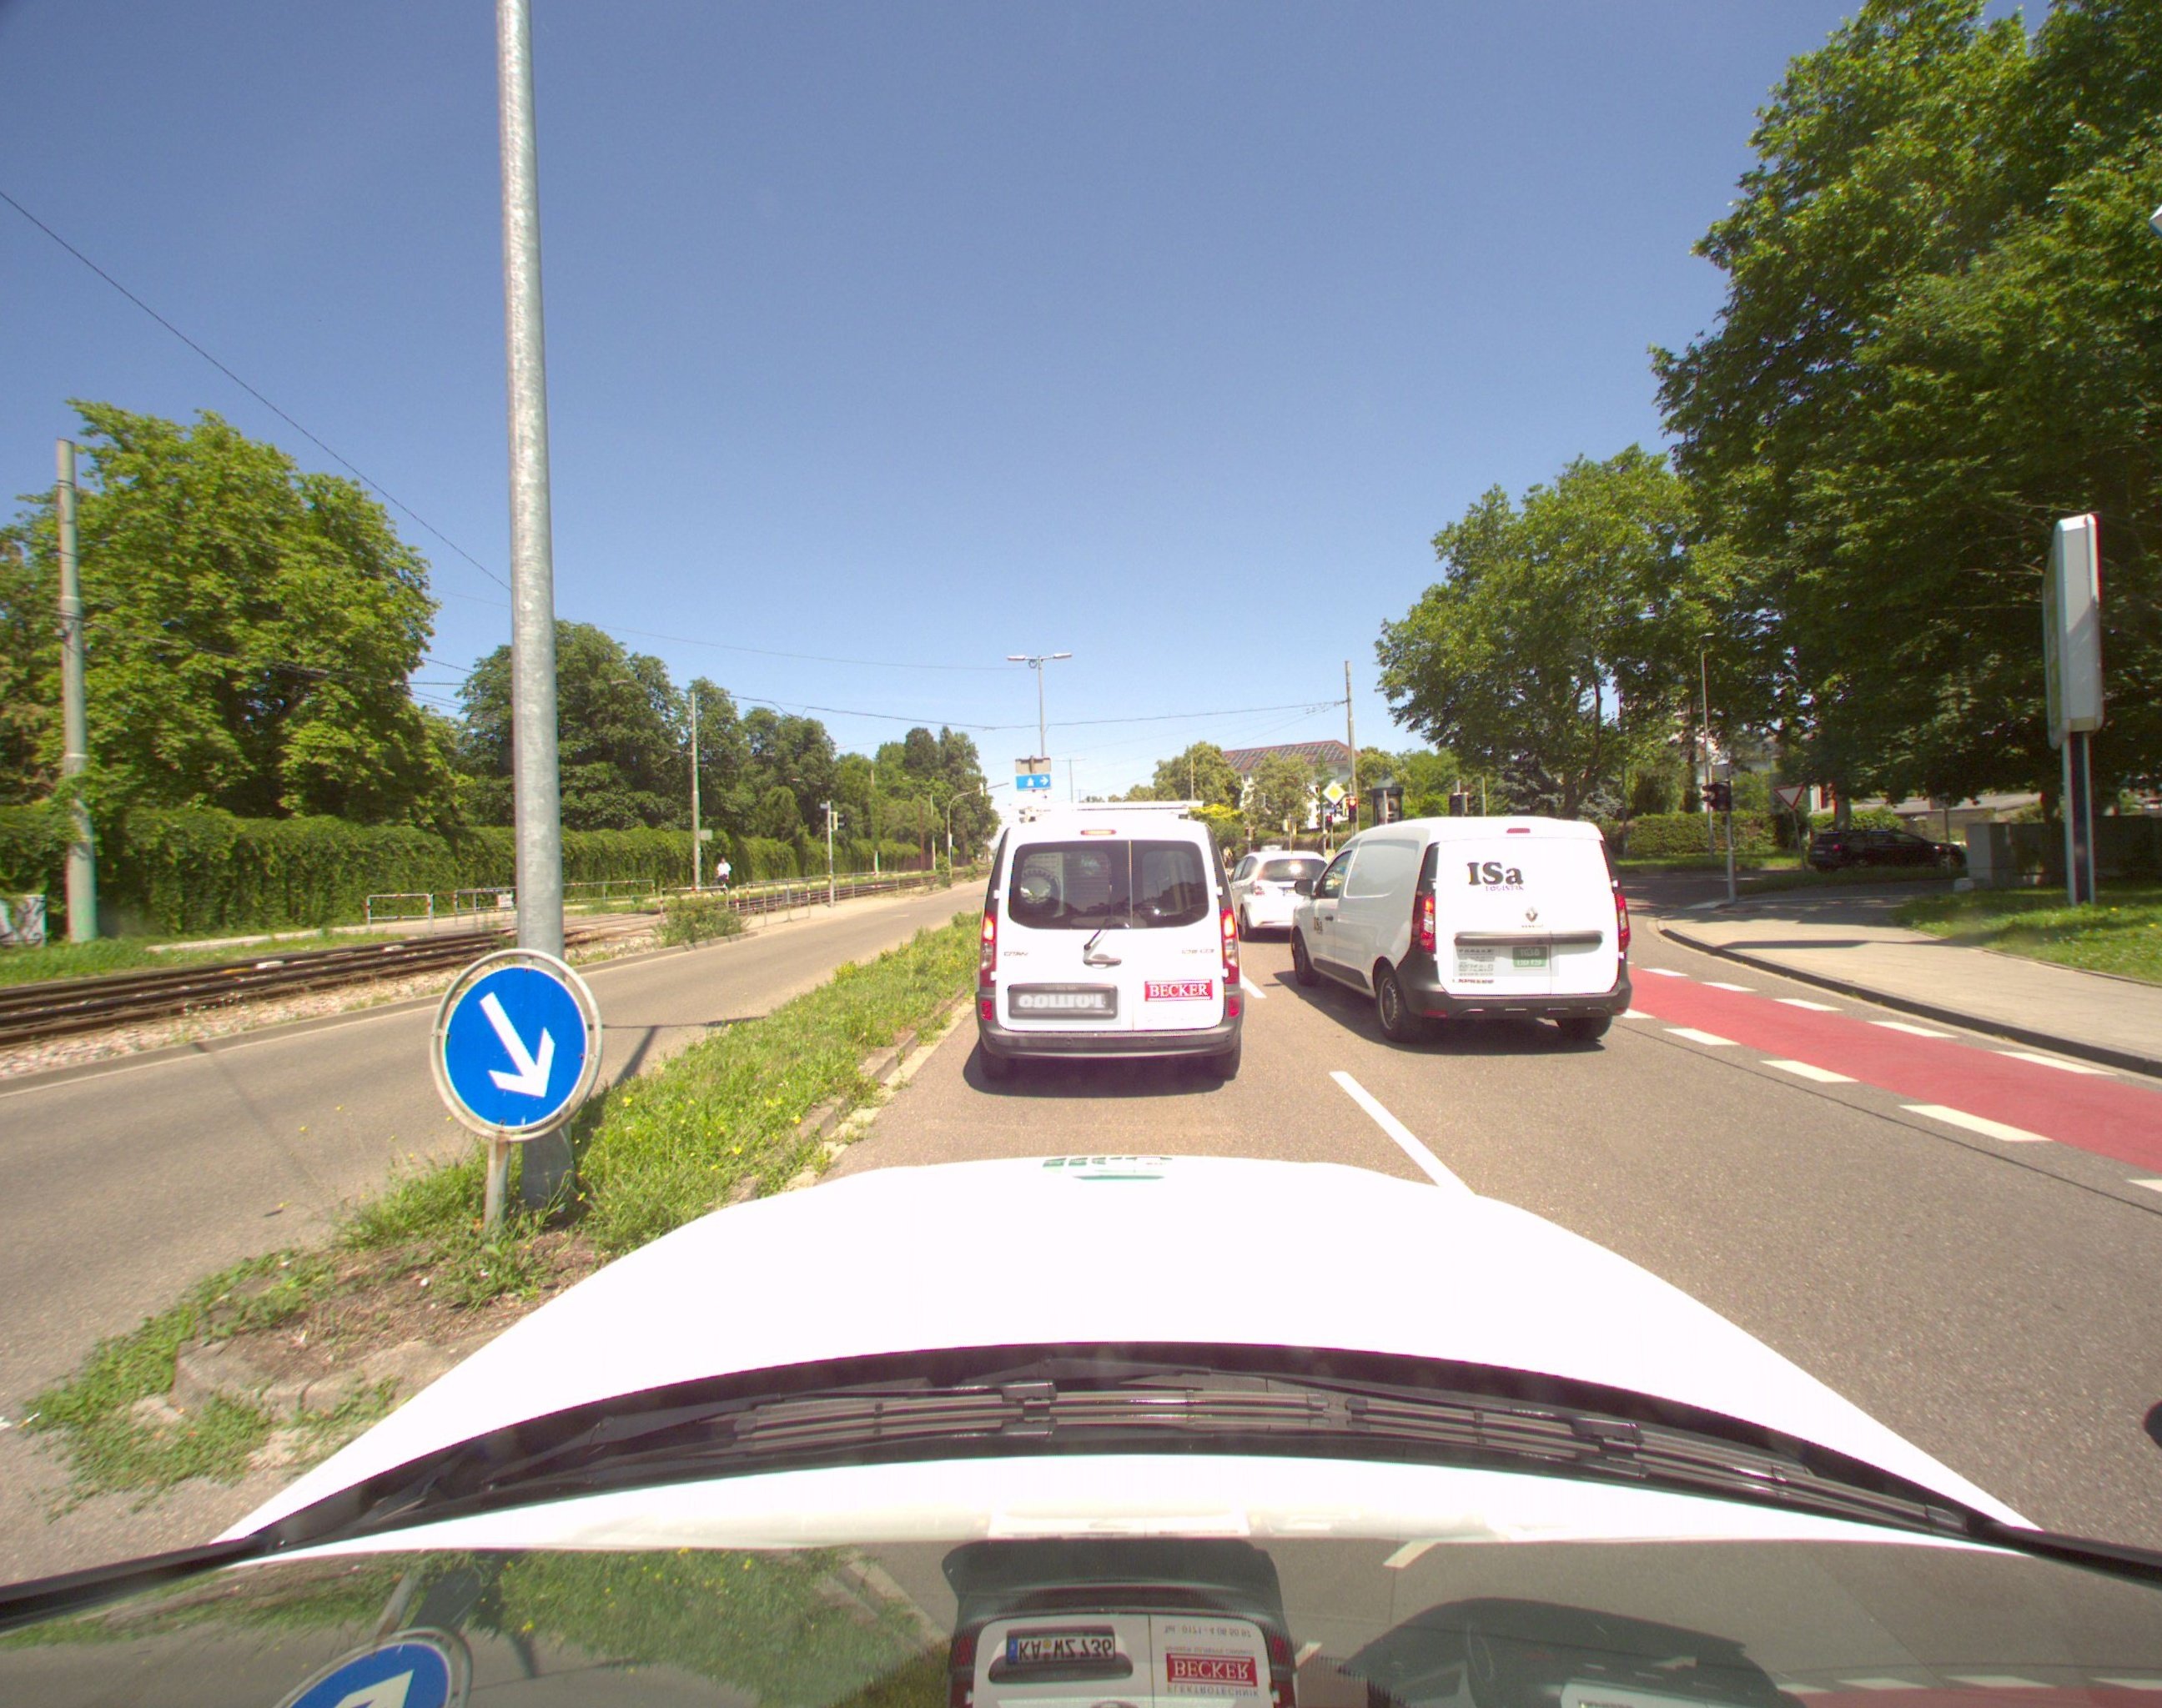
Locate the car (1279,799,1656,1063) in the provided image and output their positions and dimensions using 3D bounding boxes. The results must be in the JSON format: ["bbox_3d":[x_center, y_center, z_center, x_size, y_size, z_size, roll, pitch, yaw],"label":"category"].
[{"bbox_3d":[3.245,0.549,7.812,1.704,1.830,4.013,-2,0,0],"label":"car"}]

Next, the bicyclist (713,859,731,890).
[{"bbox_3d":[-17.706,1.001,40.164,0.555,1.478,0.562,-2,0,2],"label":"bicyclist"}]

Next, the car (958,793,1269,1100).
[{"bbox_3d":[0.242,0.561,6.842,1.860,1.836,3.850,-1,0,1],"label":"car"}]

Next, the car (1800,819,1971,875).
[{"bbox_3d":[29.177,-0.250,29.690,3.960,1.860,2.007,-2,0,11],"label":"car"}]

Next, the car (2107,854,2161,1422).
[{"bbox_3d":[3.457,0.706,0.373,1.600,1.451,3.523,-2,0,3],"label":"car"}]

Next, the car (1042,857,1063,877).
[{"bbox_3d":[-2.894,1.314,84.687,1.987,2.013,3.999,-2,0,0],"label":"car"}]

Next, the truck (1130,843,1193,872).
[{"bbox_3d":[6.110,0.282,63.062,2.306,2.013,6.686,-2,0,-18],"label":"truck"}]

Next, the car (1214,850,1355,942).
[{"bbox_3d":[3.633,0.685,15.220,1.749,1.486,4.002,0,0,2],"label":"car"}]

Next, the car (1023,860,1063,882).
[{"bbox_3d":[-2.467,1.054,52.439,1.695,1.311,3.863,0,0,-17],"label":"car"}]

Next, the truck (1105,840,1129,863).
[{"bbox_3d":[5.788,-0.406,132.948,3.563,3.632,8.810,-2,0,1],"label":"truck"}]

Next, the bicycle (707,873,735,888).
[{"bbox_3d":[-17.702,1.312,40.069,0.559,0.647,1.721,-2,0,3],"label":"bicycle"}]

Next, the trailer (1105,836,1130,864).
[{"bbox_3d":[5.537,-0.592,124.036,3.514,4.050,8.981,-2,0,2],"label":"trailer"}]
